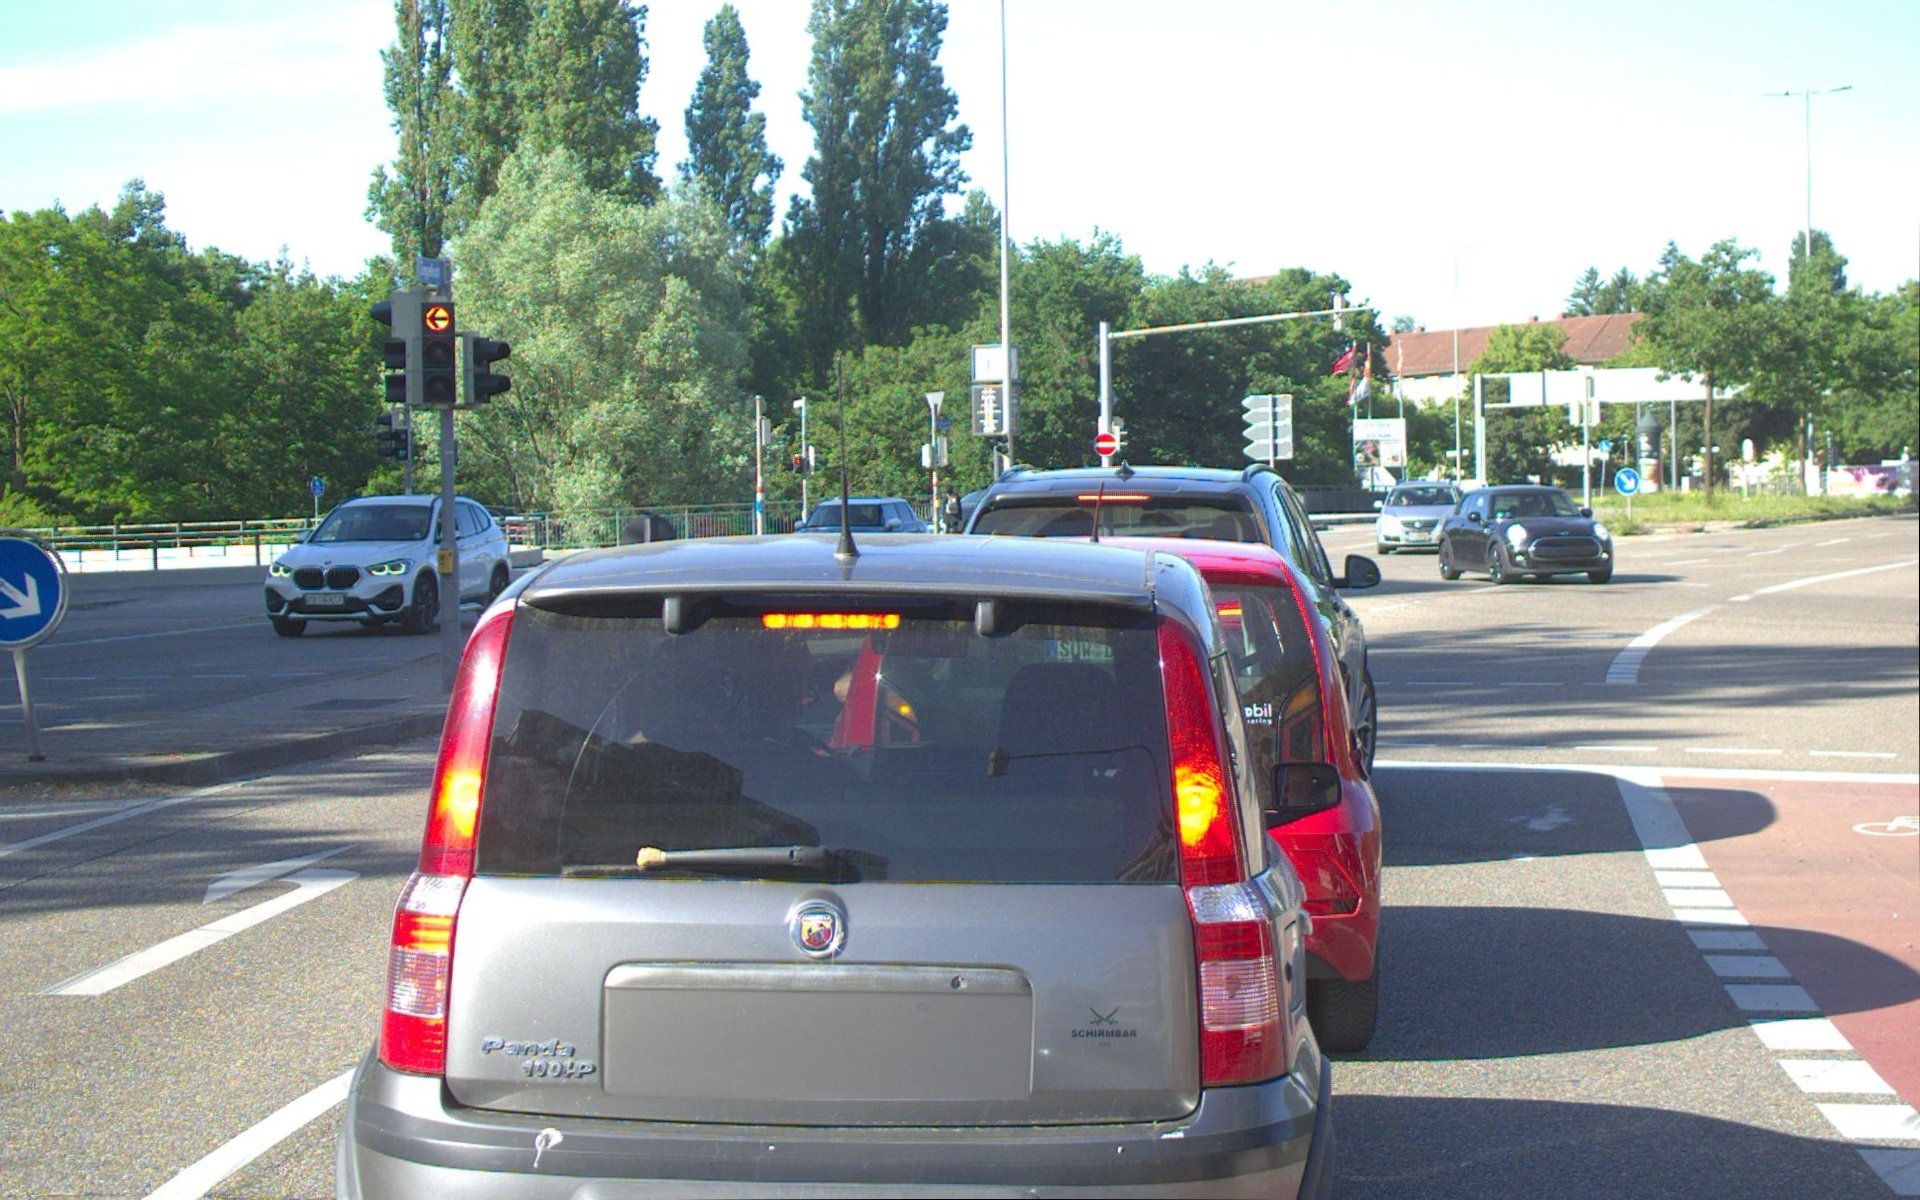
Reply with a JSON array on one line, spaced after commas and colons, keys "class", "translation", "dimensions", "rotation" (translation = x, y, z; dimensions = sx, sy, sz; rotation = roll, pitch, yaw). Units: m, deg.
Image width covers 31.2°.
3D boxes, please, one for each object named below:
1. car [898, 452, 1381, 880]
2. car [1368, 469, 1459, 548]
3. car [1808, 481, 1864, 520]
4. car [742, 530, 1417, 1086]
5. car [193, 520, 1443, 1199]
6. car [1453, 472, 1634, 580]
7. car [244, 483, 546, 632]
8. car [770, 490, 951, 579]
[{"class": "car", "translation": [1.017, 0.199, 16.775], "dimensions": [1.869, 1.784, 4.413], "rotation": [1, 2, 9]}, {"class": "car", "translation": [9.134, -1.867, 69.364], "dimensions": [1.751, 1.488, 4.348], "rotation": [0, 3, 7]}, {"class": "car", "translation": [46.546, -5.270, 182.553], "dimensions": [2.016, 1.848, 4.424], "rotation": [0, -1, 26]}, {"class": "car", "translation": [0.482, 0.520, 11.329], "dimensions": [1.820, 1.474, 4.000], "rotation": [1, 1, 5]}, {"class": "car", "translation": [-0.103, 0.611, 7.052], "dimensions": [1.820, 1.484, 4.000], "rotation": [2, 2, 4]}, {"class": "car", "translation": [8.634, -1.064, 51.175], "dimensions": [1.993, 1.448, 4.000], "rotation": [1, -1, 0]}, {"class": "car", "translation": [-6.653, -0.552, 41.018], "dimensions": [1.835, 1.647, 4.626], "rotation": [-1, 2, 14]}, {"class": "car", "translation": [-1.666, -1.112, 58.896], "dimensions": [1.688, 1.452, 3.909], "rotation": [-1, 1, 22]}]
